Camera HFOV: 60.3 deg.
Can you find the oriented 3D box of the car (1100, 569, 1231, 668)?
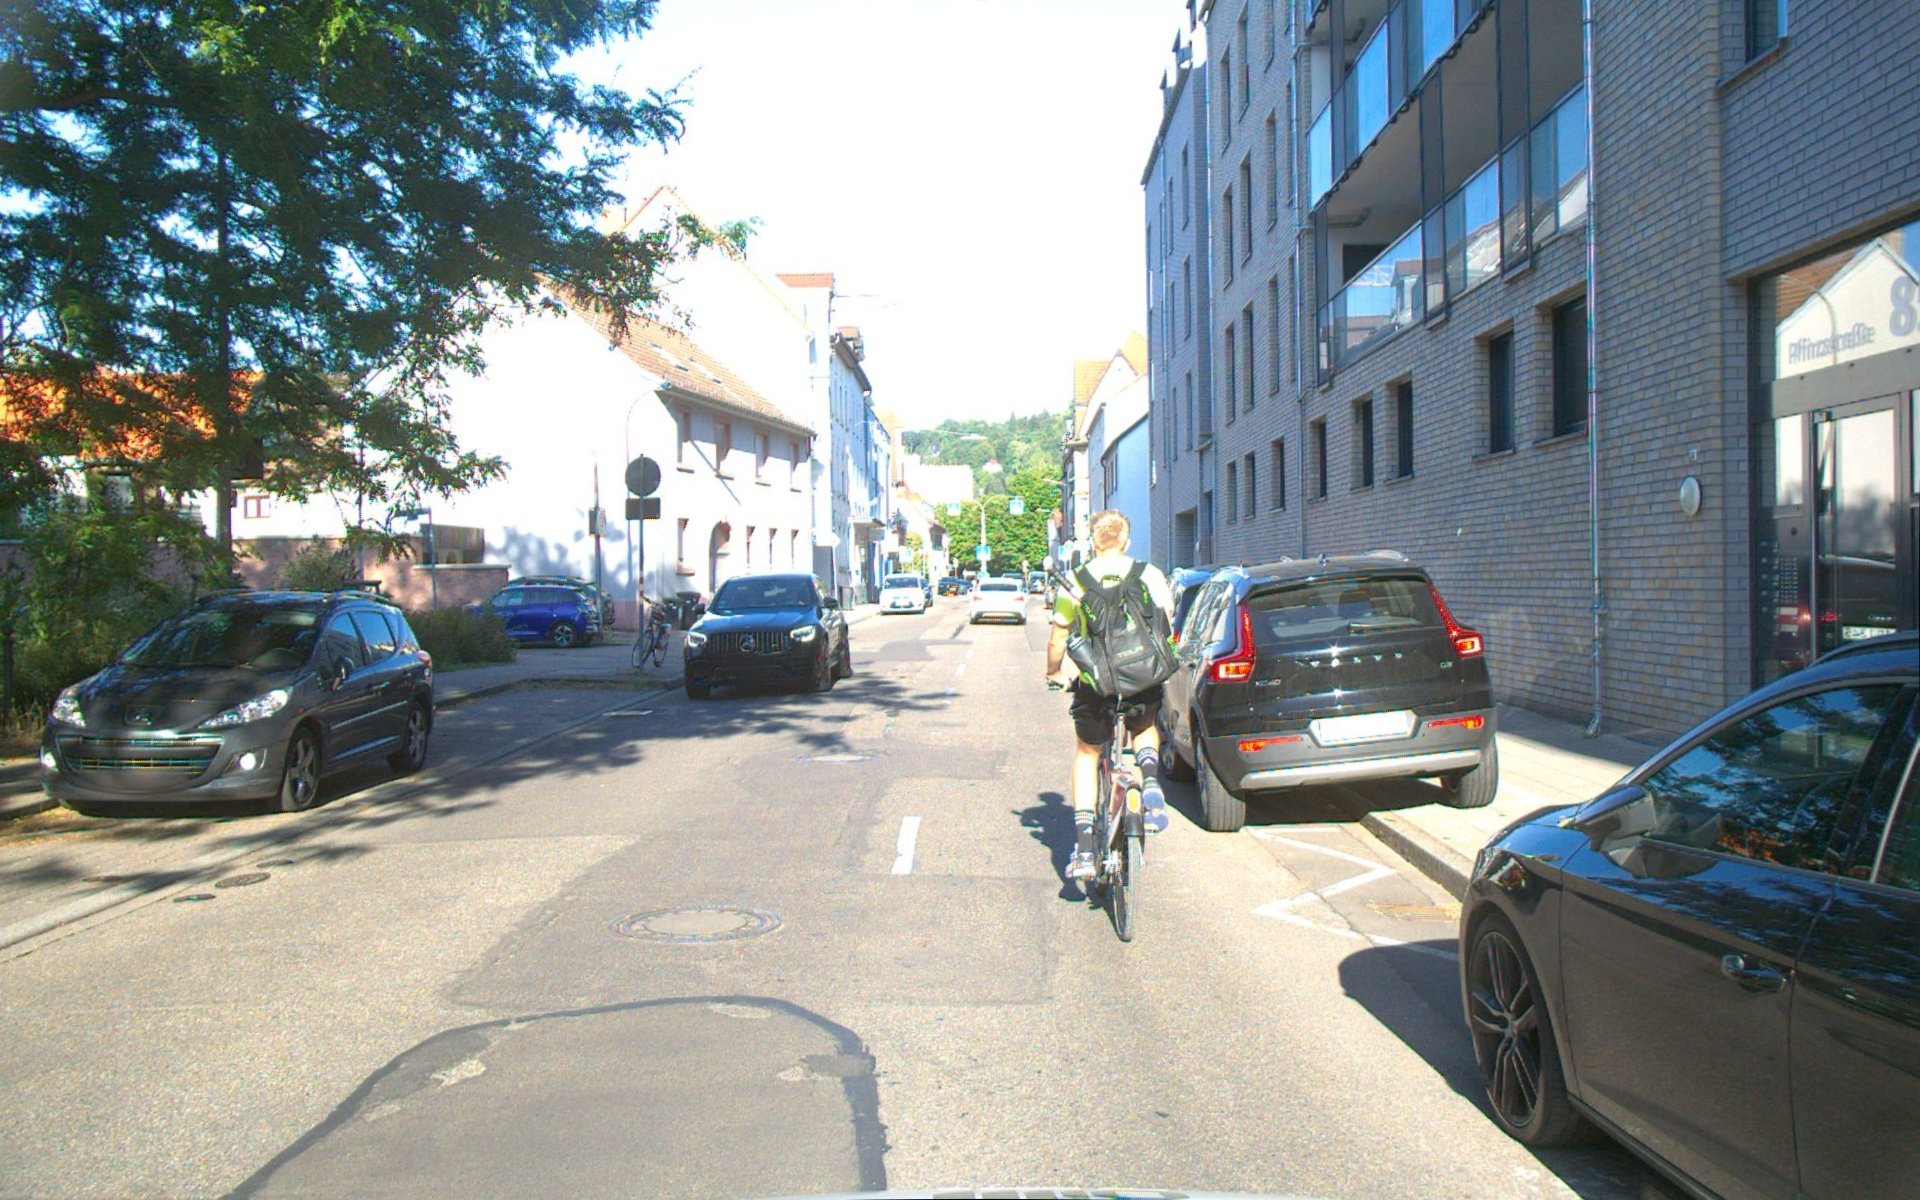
[{"bbox_3d":[3.443,0.261,28.370,1.678,1.428,4.074,-5,1,1],"label":"car"}]

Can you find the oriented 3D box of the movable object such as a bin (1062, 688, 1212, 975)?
[{"bbox_3d":[0.768,0.977,7.545,0.445,1.051,1.840,1,0,-1],"label":"movable object such as a bin"}]

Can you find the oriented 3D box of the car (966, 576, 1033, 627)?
[{"bbox_3d":[1.207,0.010,52.267,1.953,1.492,4.000,-2,1,-1],"label":"car"}]

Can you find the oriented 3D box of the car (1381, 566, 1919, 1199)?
[{"bbox_3d":[2.429,0.706,3.358,1.663,1.493,4.717,-3,1,-3],"label":"car"}]

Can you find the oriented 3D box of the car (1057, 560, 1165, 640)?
[{"bbox_3d":[3.435,-0.060,38.401,1.953,1.681,4.762,-2,2,-1],"label":"car"}]

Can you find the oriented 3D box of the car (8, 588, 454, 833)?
[{"bbox_3d":[-5.367,0.703,12.789,1.662,1.517,4.000,-2,1,-1],"label":"car"}]

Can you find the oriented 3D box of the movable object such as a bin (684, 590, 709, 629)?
[{"bbox_3d":[-7.563,0.267,47.479,0.586,1.113,0.751,-1,1,2],"label":"movable object such as a bin"}]

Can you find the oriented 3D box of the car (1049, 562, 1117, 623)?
[{"bbox_3d":[3.760,-0.270,51.312,1.816,1.664,4.625,-4,1,2],"label":"car"}]

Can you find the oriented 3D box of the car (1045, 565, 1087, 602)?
[{"bbox_3d":[4.743,-0.779,74.688,1.705,1.517,4.440,-3,1,2],"label":"car"}]

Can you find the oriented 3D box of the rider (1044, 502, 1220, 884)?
[{"bbox_3d":[0.749,0.392,7.480,0.640,1.589,1.083,1,-1,-1],"label":"rider"}]

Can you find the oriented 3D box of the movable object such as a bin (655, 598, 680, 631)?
[{"bbox_3d":[-8.212,0.411,46.427,0.586,0.887,0.606,-1,1,-1],"label":"movable object such as a bin"}]

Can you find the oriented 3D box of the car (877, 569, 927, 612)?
[{"bbox_3d":[-2.370,-0.437,68.720,1.953,1.676,5.221,-1,1,-1],"label":"car"}]

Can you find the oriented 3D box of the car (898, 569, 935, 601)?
[{"bbox_3d":[-2.233,-0.772,85.265,1.695,1.525,3.959,-2,0,1],"label":"car"}]

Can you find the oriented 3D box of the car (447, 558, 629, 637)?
[{"bbox_3d":[-11.162,-0.093,43.934,4.272,1.825,1.989,2,4,2],"label":"car"}]

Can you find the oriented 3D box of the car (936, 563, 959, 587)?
[{"bbox_3d":[-1.088,-2.214,145.182,1.953,2.048,4.000,-1,1,0],"label":"car"}]

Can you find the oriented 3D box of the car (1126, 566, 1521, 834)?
[{"bbox_3d":[2.325,0.550,11.728,1.779,1.492,4.269,-2,1,-1],"label":"car"}]

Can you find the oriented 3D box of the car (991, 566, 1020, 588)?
[{"bbox_3d":[3.248,-1.656,117.244,1.952,1.492,4.002,-2,1,3],"label":"car"}]

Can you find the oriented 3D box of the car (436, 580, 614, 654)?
[{"bbox_3d":[-10.524,0.400,40.223,3.689,1.556,2.001,-2,2,2],"label":"car"}]

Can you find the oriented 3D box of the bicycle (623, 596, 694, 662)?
[{"bbox_3d":[-5.013,0.461,27.585,0.689,1.020,1.942,-1,1,4],"label":"bicycle"}]

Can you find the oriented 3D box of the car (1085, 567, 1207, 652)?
[{"bbox_3d":[3.668,0.136,33.290,1.953,1.532,4.367,-2,1,0],"label":"car"}]

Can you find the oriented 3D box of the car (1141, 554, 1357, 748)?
[{"bbox_3d":[2.934,0.414,17.711,1.850,1.742,4.777,-1,2,5],"label":"car"}]

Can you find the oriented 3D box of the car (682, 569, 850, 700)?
[{"bbox_3d":[-2.607,0.410,23.204,1.900,1.603,4.318,-2,1,-1],"label":"car"}]

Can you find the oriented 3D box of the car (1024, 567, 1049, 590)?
[{"bbox_3d":[6.424,-1.802,139.446,1.969,1.885,4.001,0,2,0],"label":"car"}]

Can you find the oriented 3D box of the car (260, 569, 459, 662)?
[{"bbox_3d":[-14.529,0.353,40.192,3.908,1.524,2.002,-9,4,2],"label":"car"}]
